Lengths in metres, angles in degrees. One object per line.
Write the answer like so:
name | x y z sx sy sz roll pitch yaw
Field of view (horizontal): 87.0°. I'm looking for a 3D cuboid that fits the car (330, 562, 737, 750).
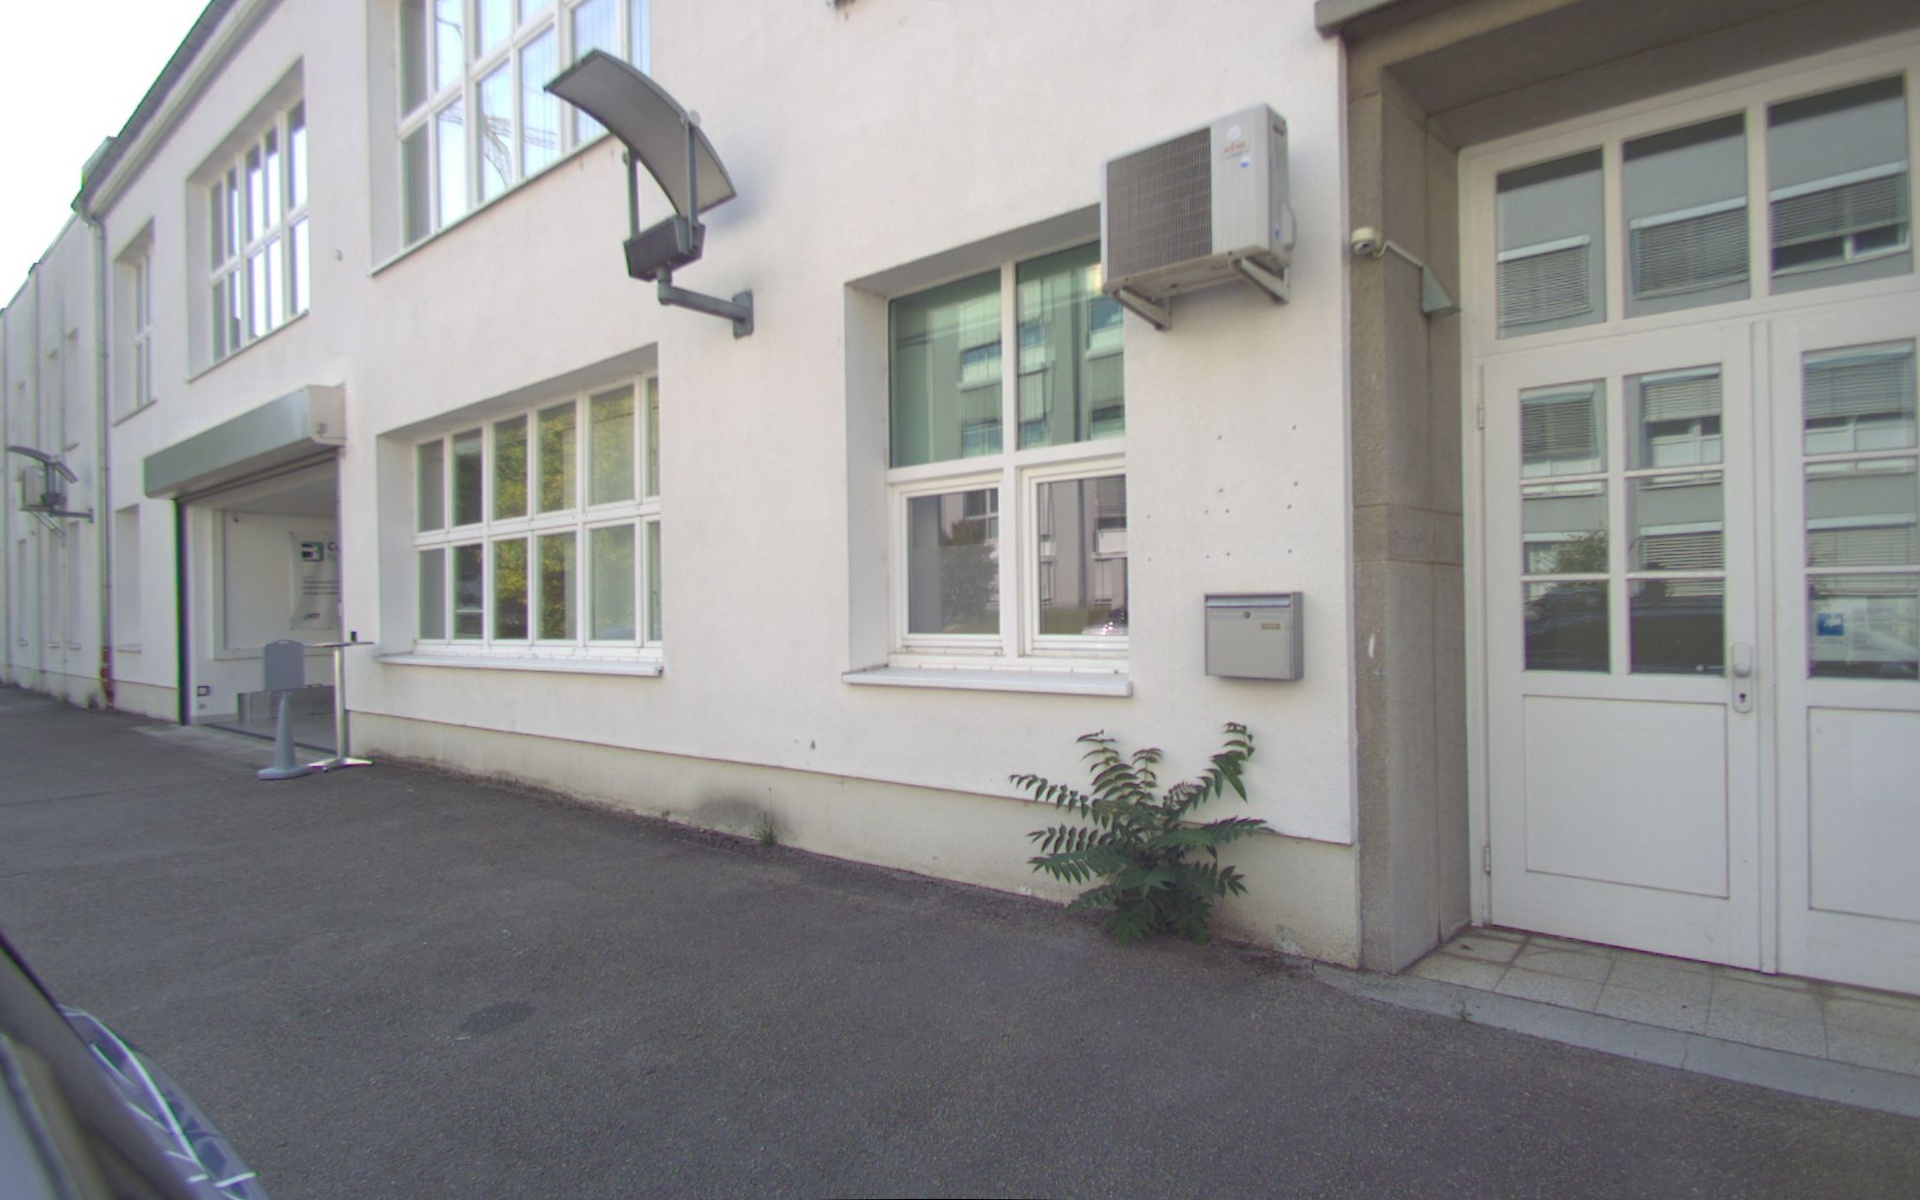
car | -5.597 0.598 13.832 2.054 2.108 4.699 -1 0 40
